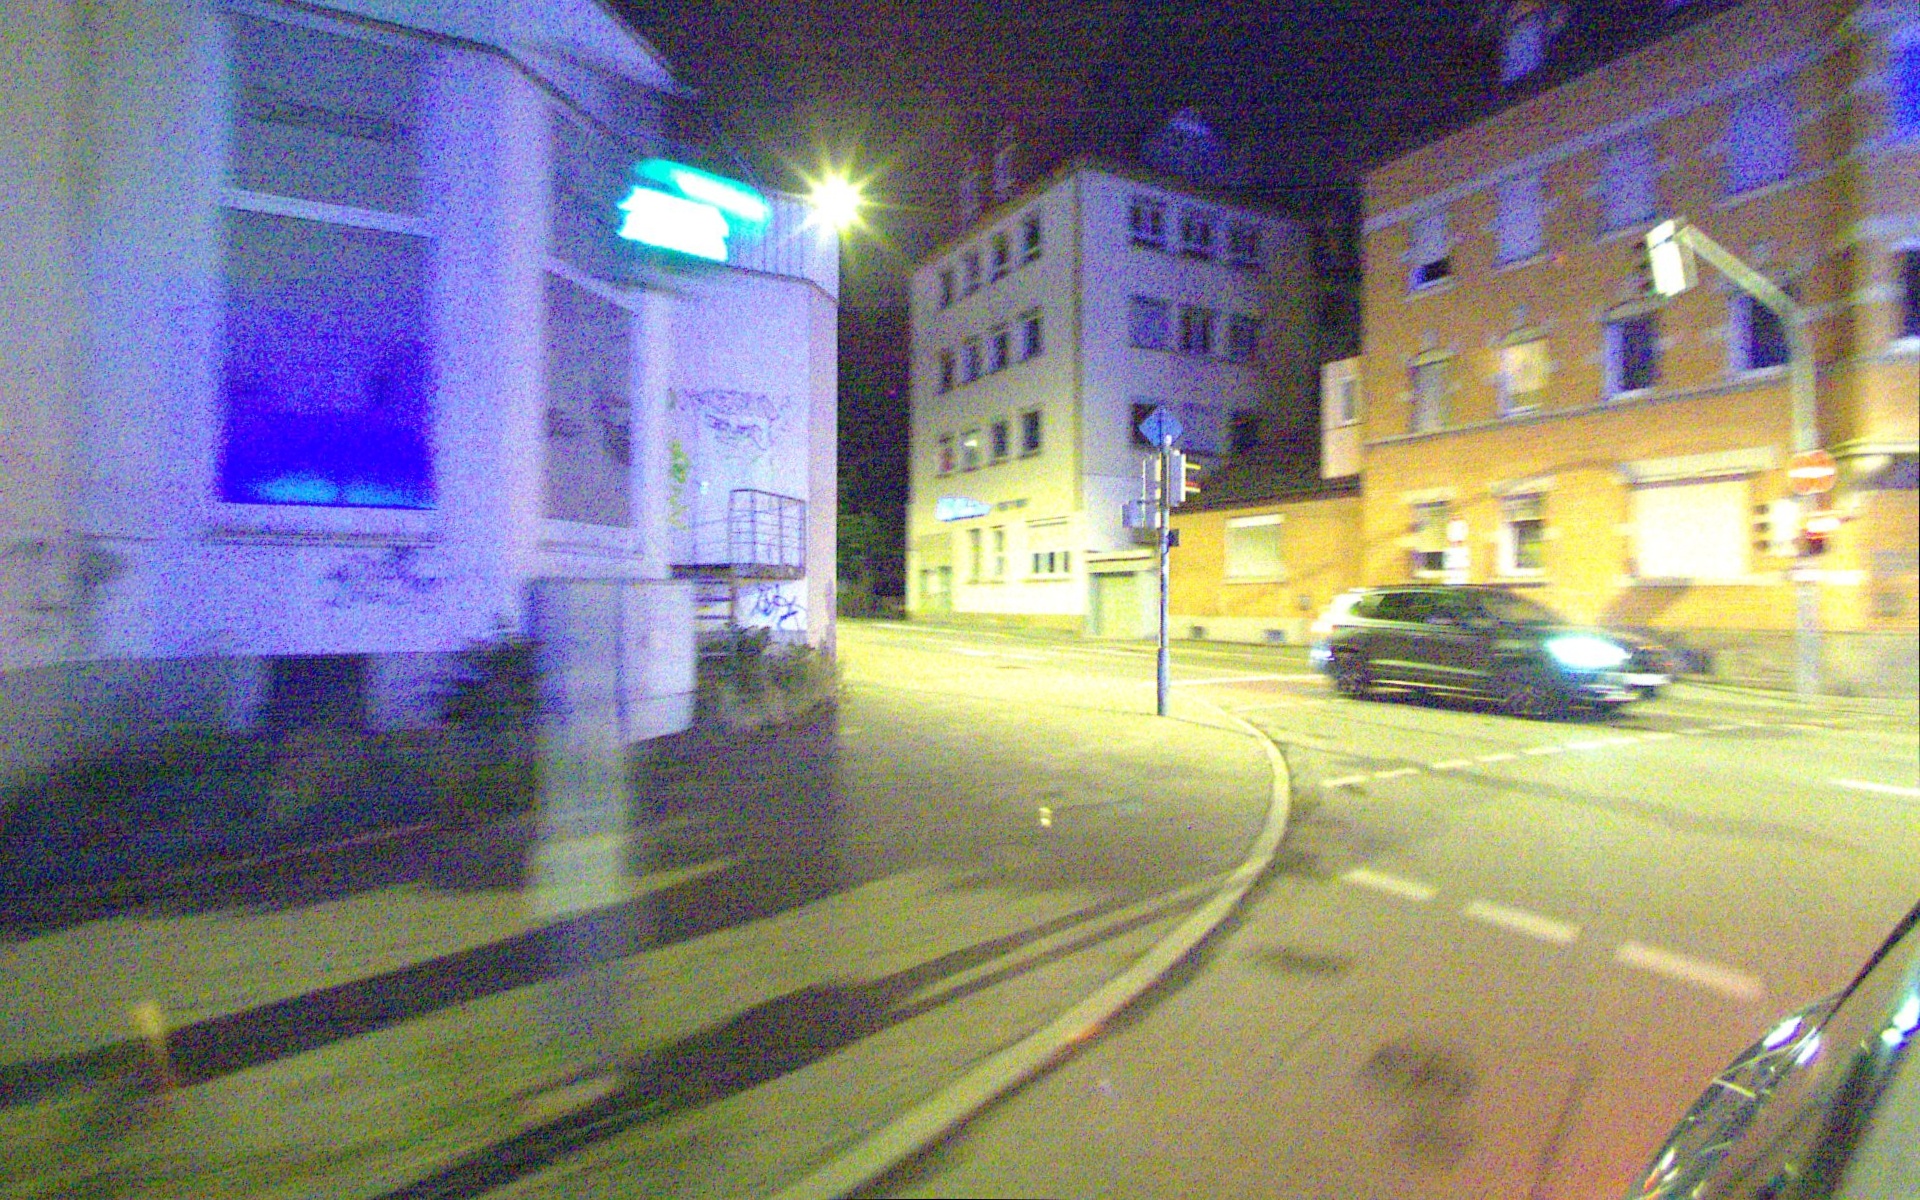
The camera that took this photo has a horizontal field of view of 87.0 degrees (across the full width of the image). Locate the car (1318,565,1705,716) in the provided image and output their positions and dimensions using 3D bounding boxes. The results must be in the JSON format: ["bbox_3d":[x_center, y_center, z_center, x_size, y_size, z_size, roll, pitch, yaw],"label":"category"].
[{"bbox_3d":[6.917,0.436,13.144,1.959,1.636,4.005,0,0,-28],"label":"car"}]

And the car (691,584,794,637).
[{"bbox_3d":[-6.932,0.269,31.949,1.829,1.507,4.551,0,1,-31],"label":"car"}]

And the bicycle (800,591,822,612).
[{"bbox_3d":[-7.908,0.062,53.795,0.609,1.065,1.724,0,1,-28],"label":"bicycle"}]
